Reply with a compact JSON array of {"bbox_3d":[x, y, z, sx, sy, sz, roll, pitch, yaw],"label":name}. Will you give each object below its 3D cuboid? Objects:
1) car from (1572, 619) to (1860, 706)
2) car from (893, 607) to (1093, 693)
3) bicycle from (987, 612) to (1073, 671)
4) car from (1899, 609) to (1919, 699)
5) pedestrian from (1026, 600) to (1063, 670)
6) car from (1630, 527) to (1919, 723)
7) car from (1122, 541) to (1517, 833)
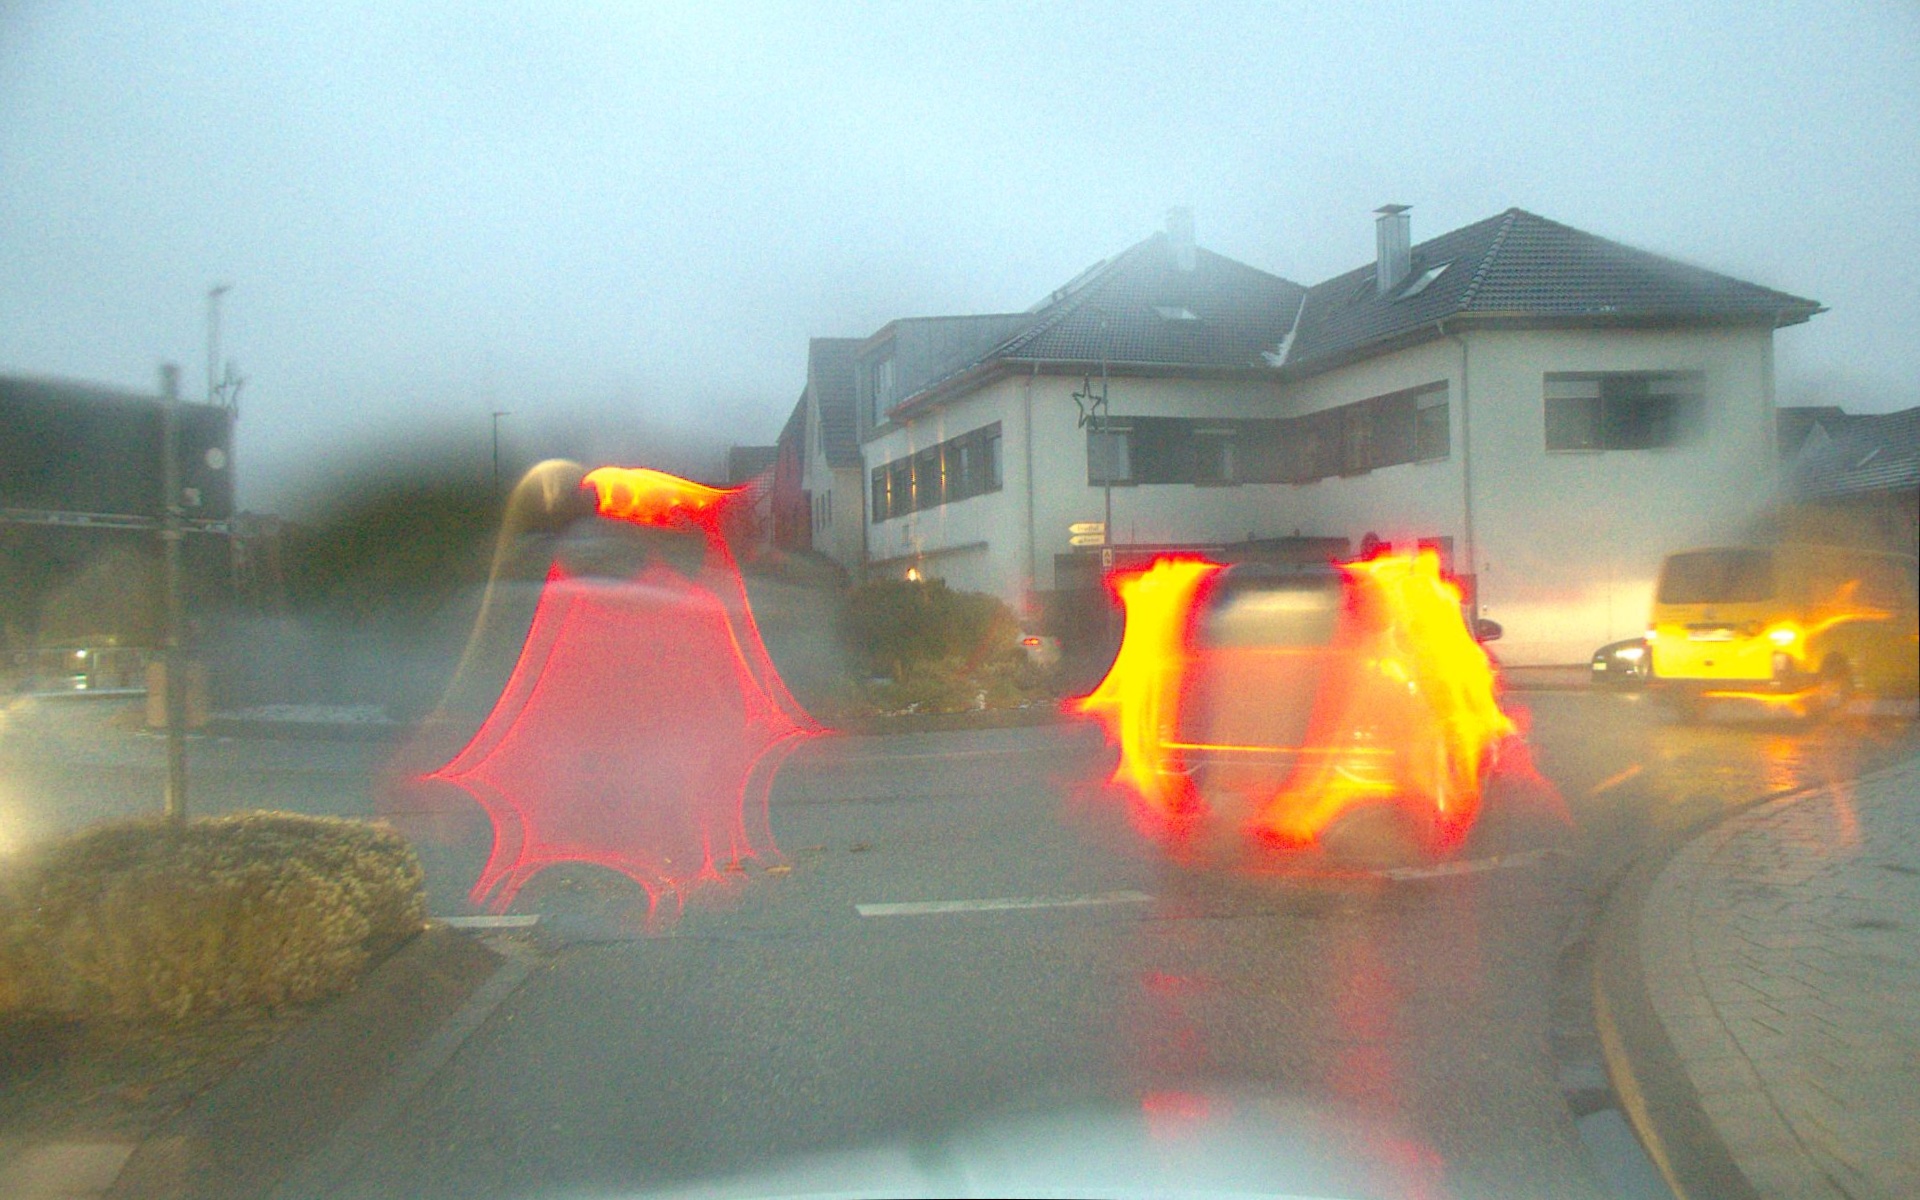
[{"bbox_3d":[13.003,1.095,28.578,4.139,1.408,1.848,0,-3,-6],"label":"car"},{"bbox_3d":[0.604,0.954,32.860,1.770,1.566,3.869,-1,0,-43],"label":"car"},{"bbox_3d":[1.617,0.957,38.106,1.898,1.318,0.551,-1,1,25],"label":"bicycle"},{"bbox_3d":[18.849,0.947,28.970,3.910,1.579,1.695,0,-2,-6],"label":"car"},{"bbox_3d":[1.967,0.816,38.506,0.675,1.592,0.610,-1,0,25],"label":"pedestrian"},{"bbox_3d":[10.248,0.258,19.534,4.840,2.049,1.977,0,-1,-34],"label":"car"},{"bbox_3d":[2.664,0.462,11.486,1.877,1.643,3.948,-1,1,24],"label":"car"}]
